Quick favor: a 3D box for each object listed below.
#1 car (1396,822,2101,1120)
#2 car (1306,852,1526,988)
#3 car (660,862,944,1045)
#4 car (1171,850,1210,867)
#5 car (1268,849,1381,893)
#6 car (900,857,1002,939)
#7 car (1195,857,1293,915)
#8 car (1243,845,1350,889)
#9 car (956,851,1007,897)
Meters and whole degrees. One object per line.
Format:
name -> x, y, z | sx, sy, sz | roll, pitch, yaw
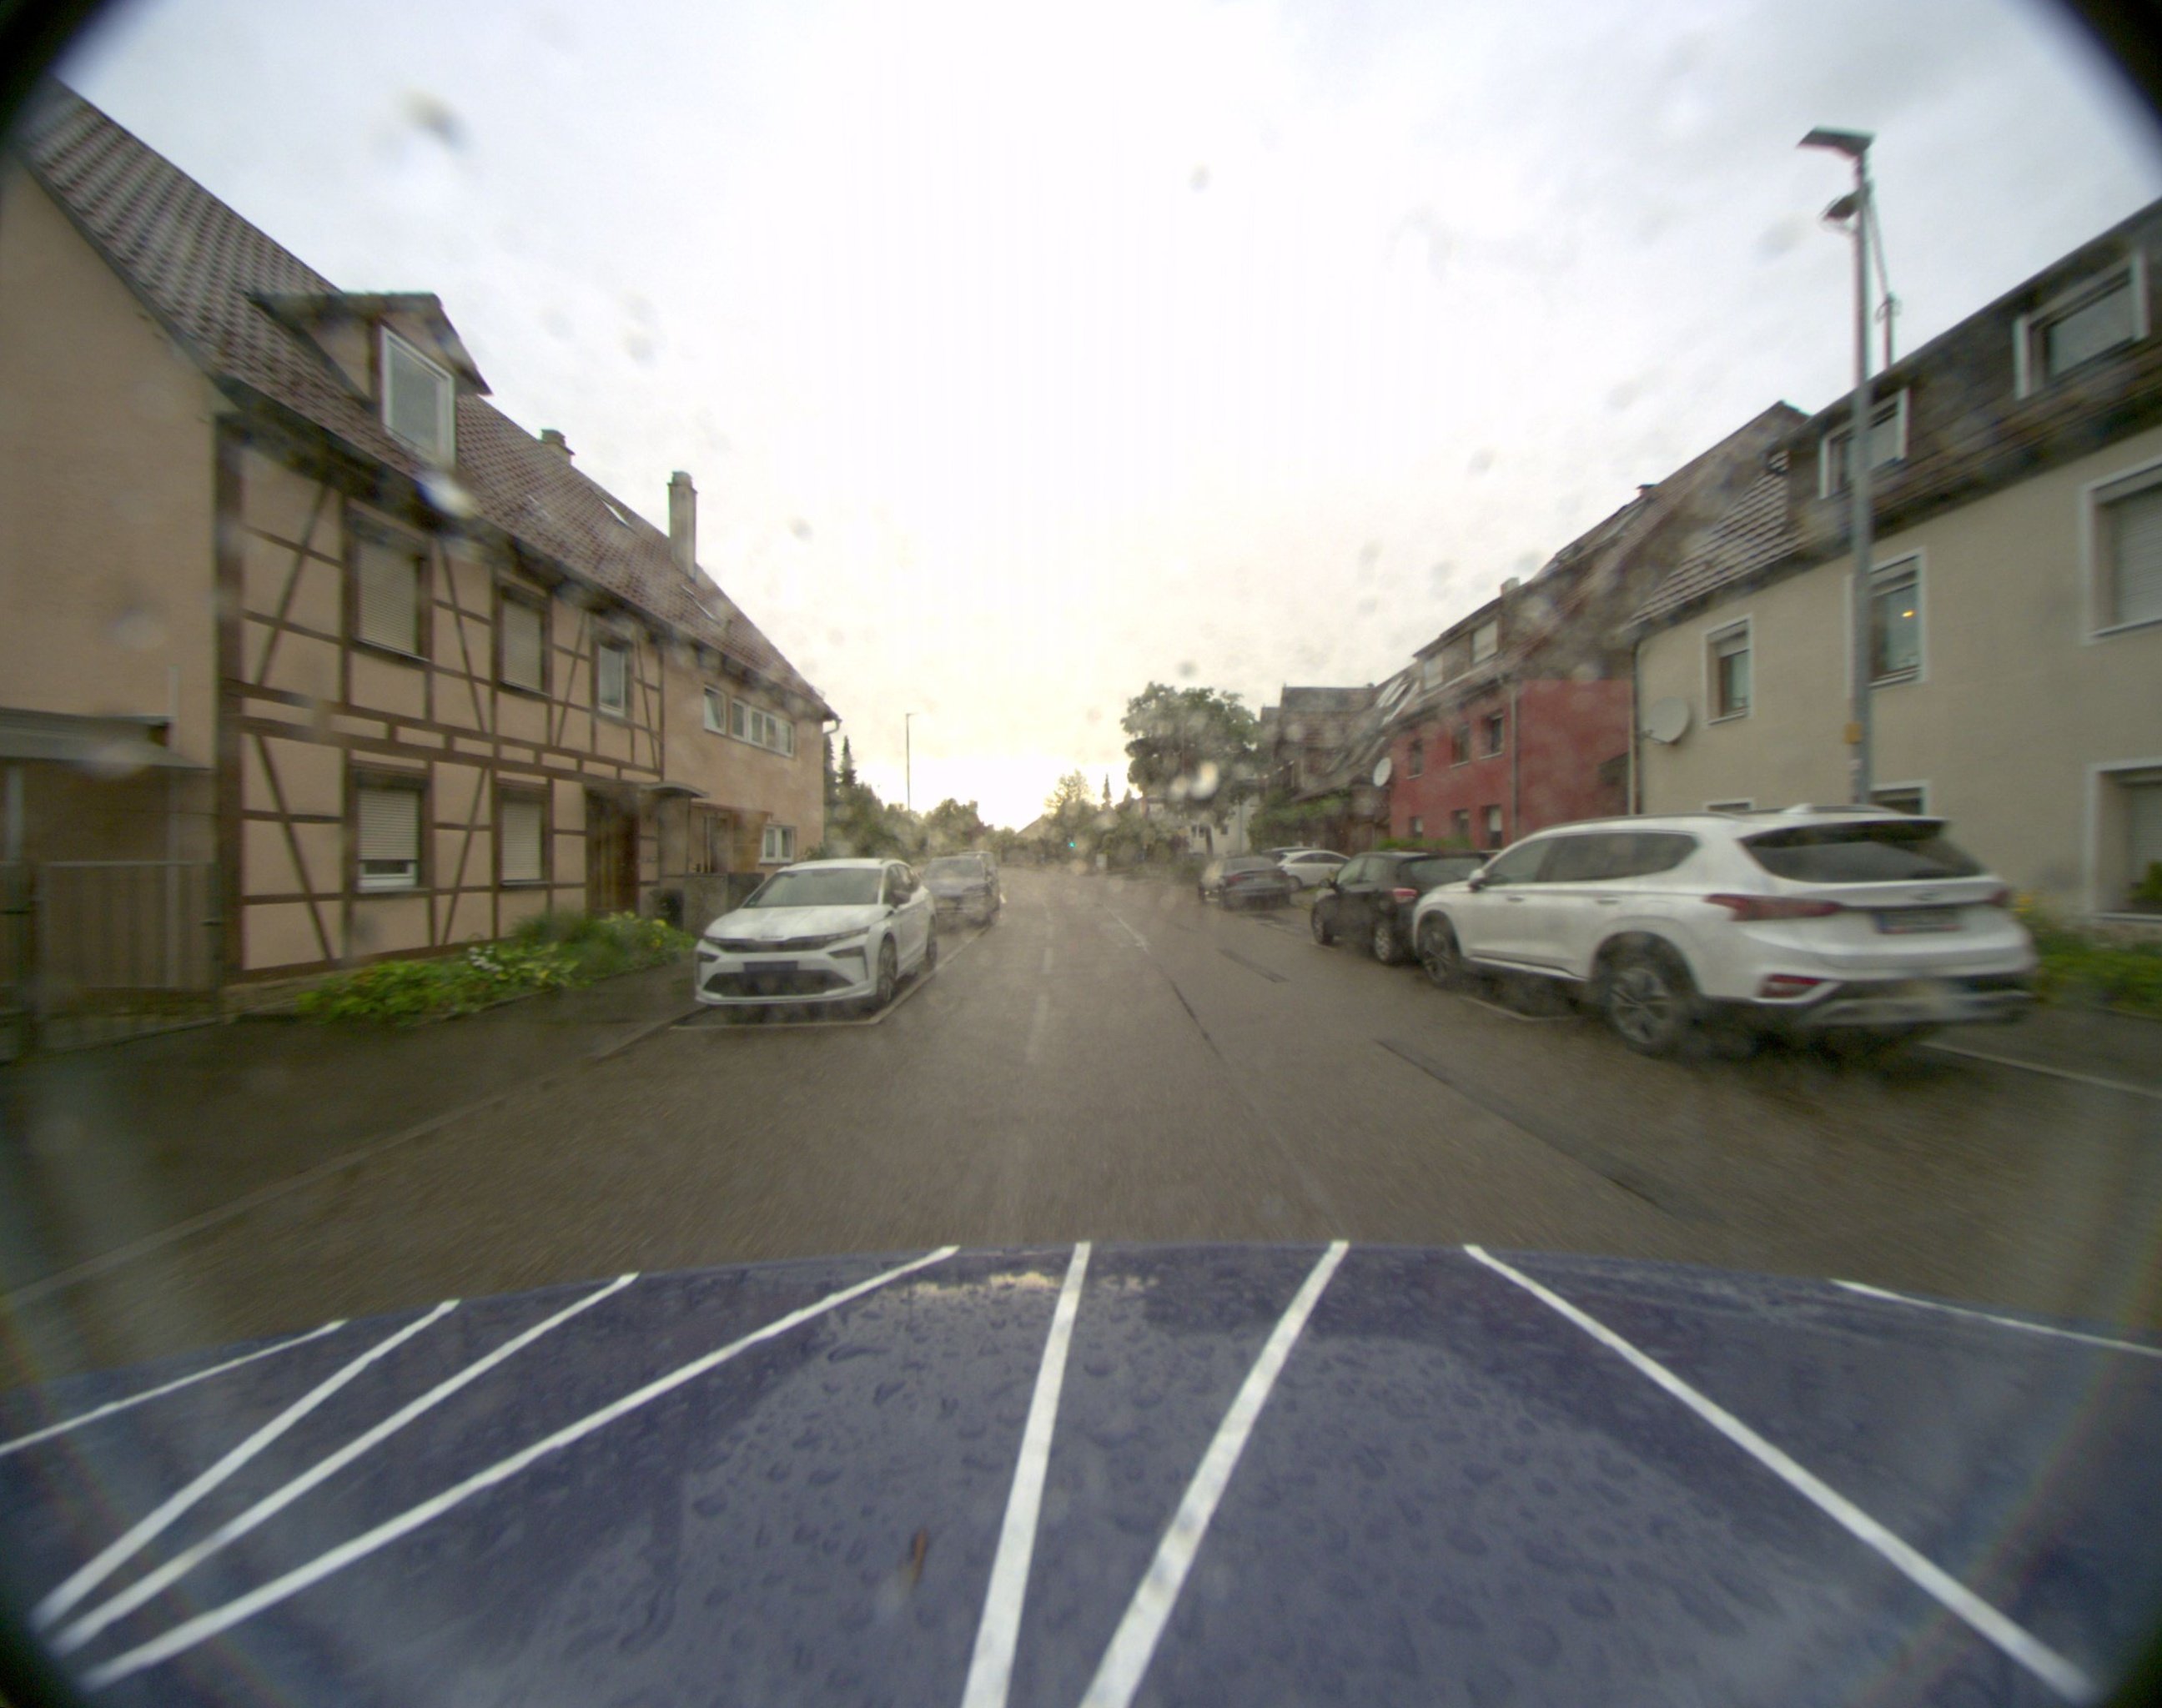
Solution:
car -> 4.631, 0.620, 6.481 | 1.769, 1.610, 4.654 | 0, 0, -3
car -> 4.527, 0.790, 10.792 | 1.609, 1.608, 3.275 | 0, 0, -2
car -> -2.984, 0.944, 9.319 | 1.807, 1.586, 4.611 | -1, 0, -1
car -> 9.710, 0.400, 67.599 | 1.780, 1.413, 3.618 | -1, 0, -26
car -> 8.467, 0.580, 26.625 | 3.470, 1.470, 1.590 | 0, 1, 1
car -> -3.106, 0.977, 19.070 | 1.914, 1.707, 4.554 | -3, 0, -3
car -> 4.411, 0.810, 21.123 | 1.631, 1.348, 4.109 | -3, 0, -2
car -> 8.246, 0.482, 29.341 | 3.584, 1.497, 1.855 | -3, 0, 2
car -> -4.613, 0.832, 34.658 | 1.937, 1.891, 4.788 | -2, 1, -11
